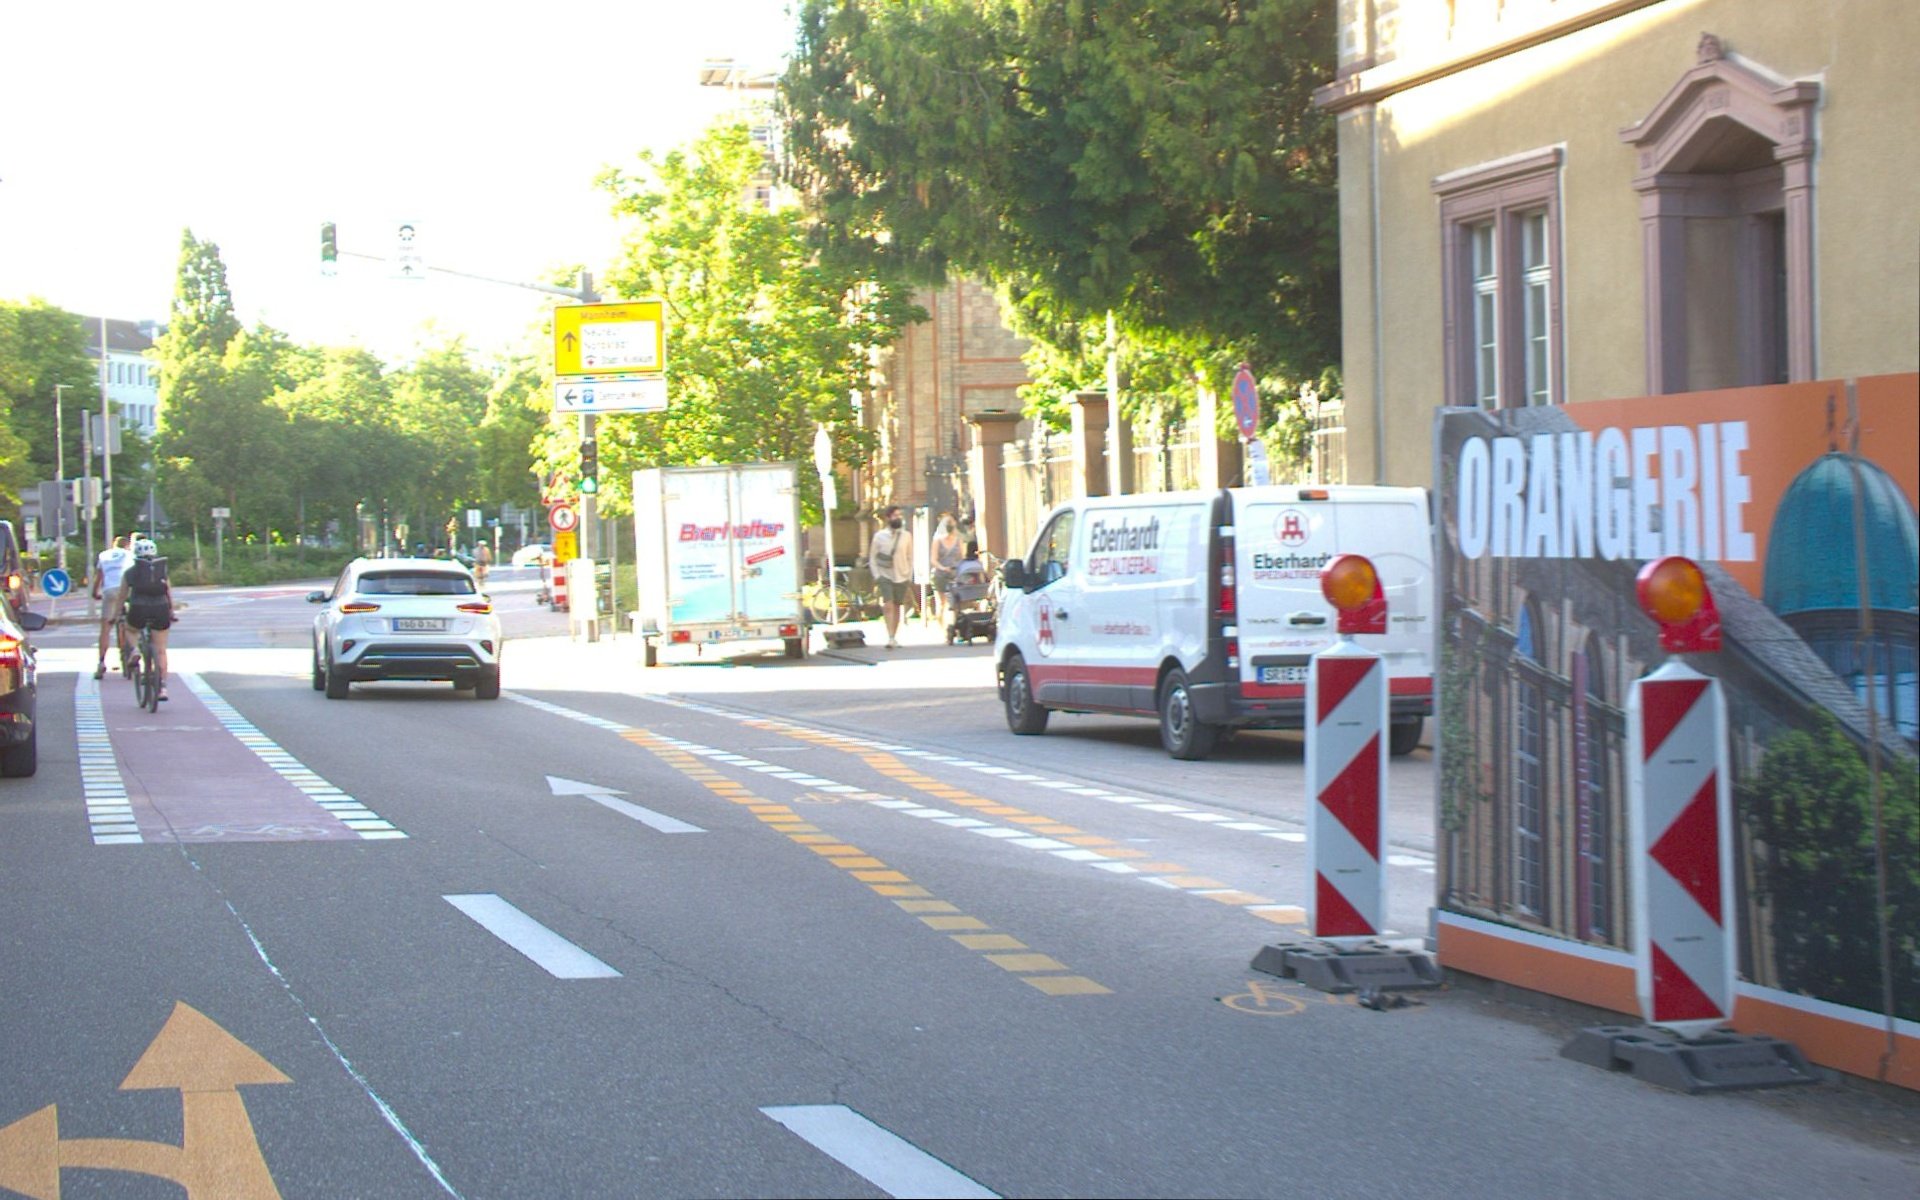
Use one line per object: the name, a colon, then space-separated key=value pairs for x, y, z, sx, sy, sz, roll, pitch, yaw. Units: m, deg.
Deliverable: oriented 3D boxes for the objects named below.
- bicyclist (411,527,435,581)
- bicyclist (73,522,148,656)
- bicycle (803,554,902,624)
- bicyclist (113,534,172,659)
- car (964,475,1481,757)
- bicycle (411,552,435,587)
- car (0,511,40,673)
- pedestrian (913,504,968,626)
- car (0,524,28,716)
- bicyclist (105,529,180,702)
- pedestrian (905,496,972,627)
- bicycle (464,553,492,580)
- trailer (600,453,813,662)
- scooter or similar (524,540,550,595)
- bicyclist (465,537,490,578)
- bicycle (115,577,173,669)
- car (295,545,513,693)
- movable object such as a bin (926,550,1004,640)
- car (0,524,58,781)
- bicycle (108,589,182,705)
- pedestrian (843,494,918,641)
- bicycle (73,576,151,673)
bicyclist: x=-15.991 y=-1.375 z=102.395 sx=0.636 sy=1.609 sz=1.284 roll=0 pitch=1 yaw=-7
bicyclist: x=-10.477 y=-0.143 z=42.405 sx=0.802 sy=1.602 sz=0.825 roll=-2 pitch=1 yaw=-11
bicycle: x=-1.703 y=-0.177 z=54.471 sx=1.465 sy=1.035 sz=0.479 roll=-2 pitch=1 yaw=-13
bicyclist: x=-10.718 y=-0.056 z=45.112 sx=0.670 sy=1.602 sz=0.825 roll=-2 pitch=1 yaw=-11
car: x=1.856 y=0.082 z=26.550 sx=2.014 sy=1.939 sz=5.483 roll=0 pitch=1 yaw=-18
bicycle: x=-15.952 y=-0.911 z=102.174 sx=0.643 sy=1.021 sz=2.213 roll=0 pitch=1 yaw=-7
car: x=-12.657 y=-0.090 z=43.063 sx=2.067 sy=1.909 sz=5.035 roll=-2 pitch=1 yaw=-14
pedestrian: x=-0.287 y=-0.519 z=50.603 sx=0.639 sy=1.762 sz=0.738 roll=-2 pitch=1 yaw=-10
car: x=-10.152 y=0.171 z=33.295 sx=1.990 sy=1.743 sz=4.749 roll=-2 pitch=1 yaw=-13
bicyclist: x=-7.937 y=0.137 z=33.388 sx=0.672 sy=1.646 sz=0.887 roll=-1 pitch=1 yaw=-13
pedestrian: x=-0.293 y=-0.518 z=45.854 sx=0.682 sy=1.695 sz=0.694 roll=-3 pitch=2 yaw=-14
bicycle: x=-18.381 y=-1.273 z=131.101 sx=0.753 sy=1.022 sz=1.869 roll=0 pitch=0 yaw=3
trailer: x=-3.418 y=-0.589 z=45.610 sx=2.079 sy=2.519 sz=4.493 roll=-3 pitch=2 yaw=-12
scooter or similar: x=-10.392 y=-0.804 z=84.465 sx=0.555 sy=1.304 sz=1.832 roll=-2 pitch=1 yaw=-6
bicyclist: x=-18.391 y=-1.624 z=131.144 sx=0.747 sy=1.532 sz=0.969 roll=-1 pitch=1 yaw=3
bicycle: x=-10.729 y=0.293 z=45.234 sx=0.642 sy=1.151 sz=2.078 roll=-1 pitch=1 yaw=-11
car: x=-6.094 y=0.174 z=37.330 sx=1.993 sy=1.448 sz=4.001 roll=-2 pitch=1 yaw=-13
movable object such as a bin: x=0.059 y=-0.078 z=45.045 sx=0.711 sy=1.113 sz=1.051 roll=-4 pitch=2 yaw=-15
car: x=-7.488 y=0.332 z=24.302 sx=1.993 sy=1.652 sz=4.738 roll=-2 pitch=1 yaw=-16
bicycle: x=-7.938 y=0.440 z=33.523 sx=0.669 sy=1.069 sz=1.753 roll=-1 pitch=1 yaw=-12
pedestrian: x=-1.051 y=-0.436 z=45.344 sx=0.715 sy=1.888 sz=0.890 roll=-3 pitch=2 yaw=-16
bicycle: x=-10.458 y=0.293 z=42.434 sx=0.828 sy=1.139 sz=1.970 roll=-1 pitch=1 yaw=-11
